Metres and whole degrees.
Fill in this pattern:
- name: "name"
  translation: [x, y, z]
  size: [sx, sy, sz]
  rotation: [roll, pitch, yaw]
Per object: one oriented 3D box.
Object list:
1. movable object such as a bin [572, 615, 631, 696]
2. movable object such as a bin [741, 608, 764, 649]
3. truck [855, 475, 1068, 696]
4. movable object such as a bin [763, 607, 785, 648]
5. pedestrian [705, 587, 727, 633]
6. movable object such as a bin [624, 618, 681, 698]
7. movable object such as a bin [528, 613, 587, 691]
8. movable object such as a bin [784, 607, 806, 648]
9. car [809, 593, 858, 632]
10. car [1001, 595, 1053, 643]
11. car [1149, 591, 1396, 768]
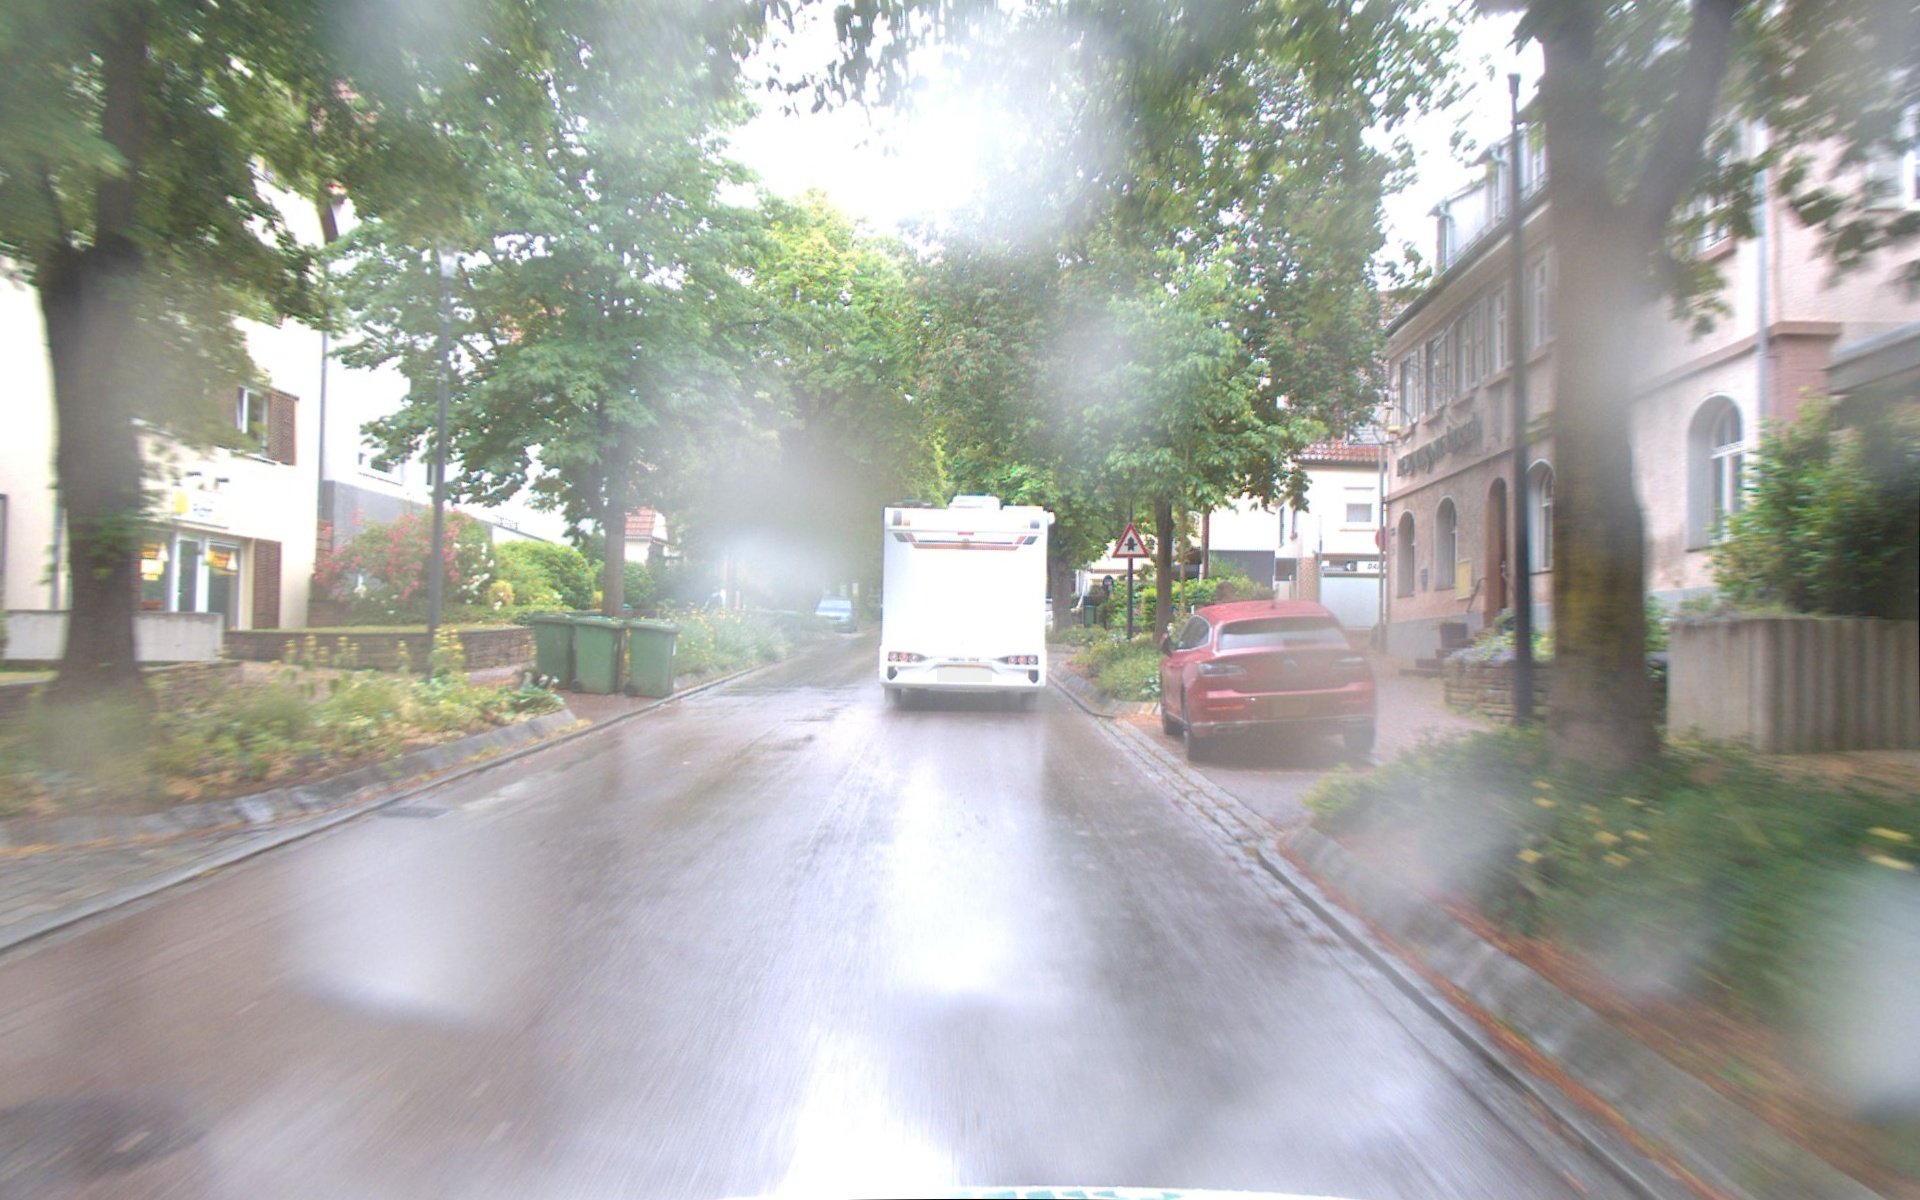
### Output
- name: "movable object such as a bin"
  translation: [-5.076, 0.781, 23.473]
  size: [0.656, 1.124, 0.817]
  rotation: [0, -1, -1]
- name: "movable object such as a bin"
  translation: [-5.529, 0.766, 44.105]
  size: [0.517, 1.077, 0.562]
  rotation: [0, -1, 0]
- name: "truck"
  translation: [-0.020, -0.149, 24.502]
  size: [2.749, 2.846, 6.105]
  rotation: [0, -1, -1]
- name: "movable object such as a bin"
  translation: [-4.965, 0.729, 44.127]
  size: [0.517, 1.077, 0.562]
  rotation: [0, -1, 0]
- name: "pedestrian"
  translation: [-9.872, 0.406, 66.928]
  size: [0.800, 1.876, 0.770]
  rotation: [0, -1, -1]
- name: "movable object such as a bin"
  translation: [-4.369, 0.815, 23.536]
  size: [0.656, 1.114, 0.817]
  rotation: [0, -1, -1]
- name: "movable object such as a bin"
  translation: [-5.852, 0.750, 24.101]
  size: [0.656, 1.124, 0.817]
  rotation: [0, -1, -1]
- name: "movable object such as a bin"
  translation: [-4.409, 0.741, 44.178]
  size: [0.517, 1.077, 0.562]
  rotation: [0, -1, 0]
- name: "car"
  translation: [-5.303, 0.535, 69.012]
  size: [1.764, 1.579, 3.992]
  rotation: [0, -1, -8]
- name: "car"
  translation: [2.270, 0.662, 56.739]
  size: [1.615, 1.569, 3.530]
  rotation: [0, -1, 0]
- name: "car"
  translation: [3.021, 0.696, 16.857]
  size: [1.817, 1.498, 4.366]
  rotation: [2, 1, 2]
